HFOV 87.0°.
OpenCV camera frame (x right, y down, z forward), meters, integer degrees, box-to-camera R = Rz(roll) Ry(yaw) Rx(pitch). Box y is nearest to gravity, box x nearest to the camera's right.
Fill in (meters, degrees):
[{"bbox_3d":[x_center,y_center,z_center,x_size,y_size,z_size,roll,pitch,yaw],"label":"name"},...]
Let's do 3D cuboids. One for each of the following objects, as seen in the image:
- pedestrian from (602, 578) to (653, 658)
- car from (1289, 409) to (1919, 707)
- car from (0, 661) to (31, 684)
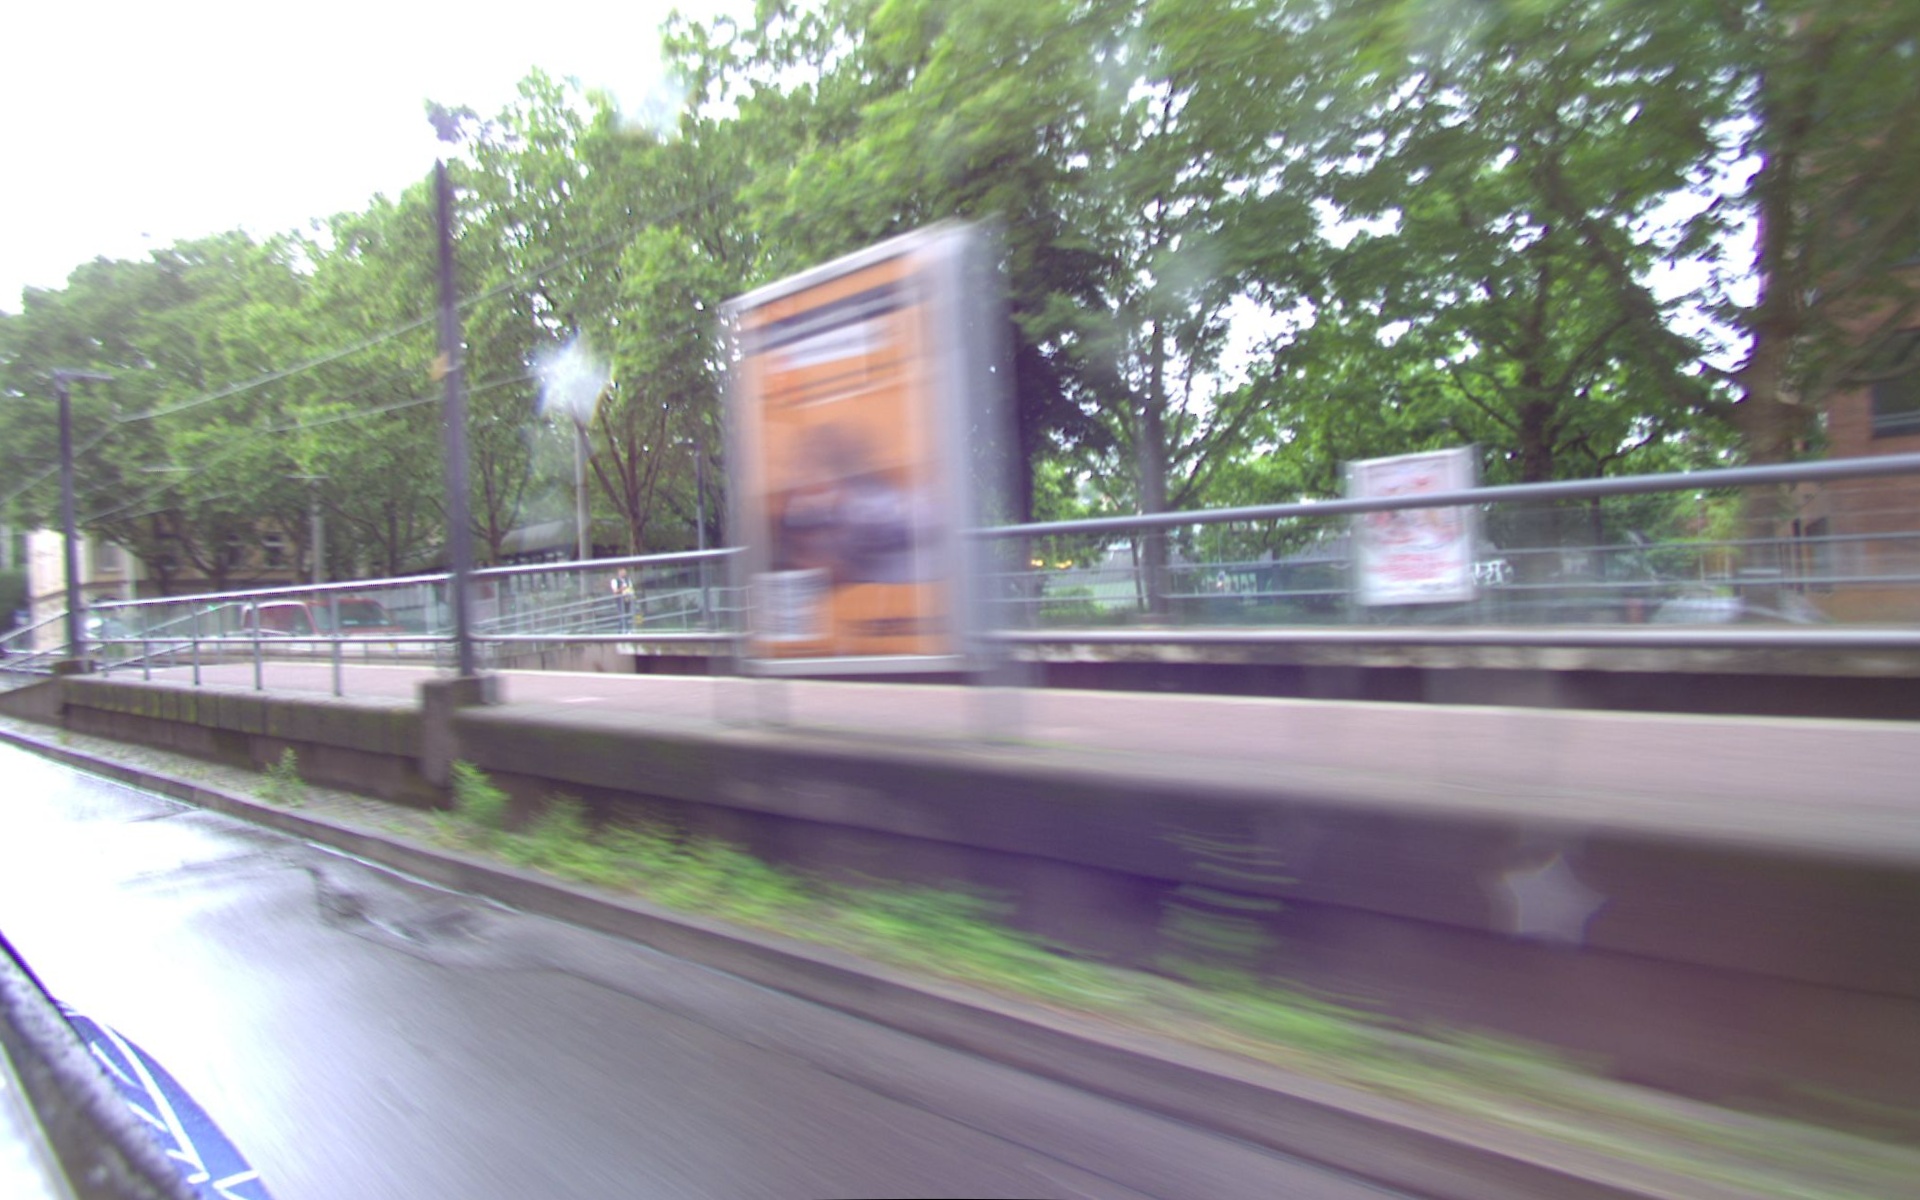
[{"bbox_3d":[-7.281,0.386,22.164,0.686,1.676,0.651,-8,-4,37],"label":"pedestrian"},{"bbox_3d":[4.049,-0.158,6.214,3.460,1.401,1.675,-3,-1,39],"label":"car"},{"bbox_3d":[-67.874,5.173,72.145,3.802,1.488,1.869,-3,0,39],"label":"car"}]
